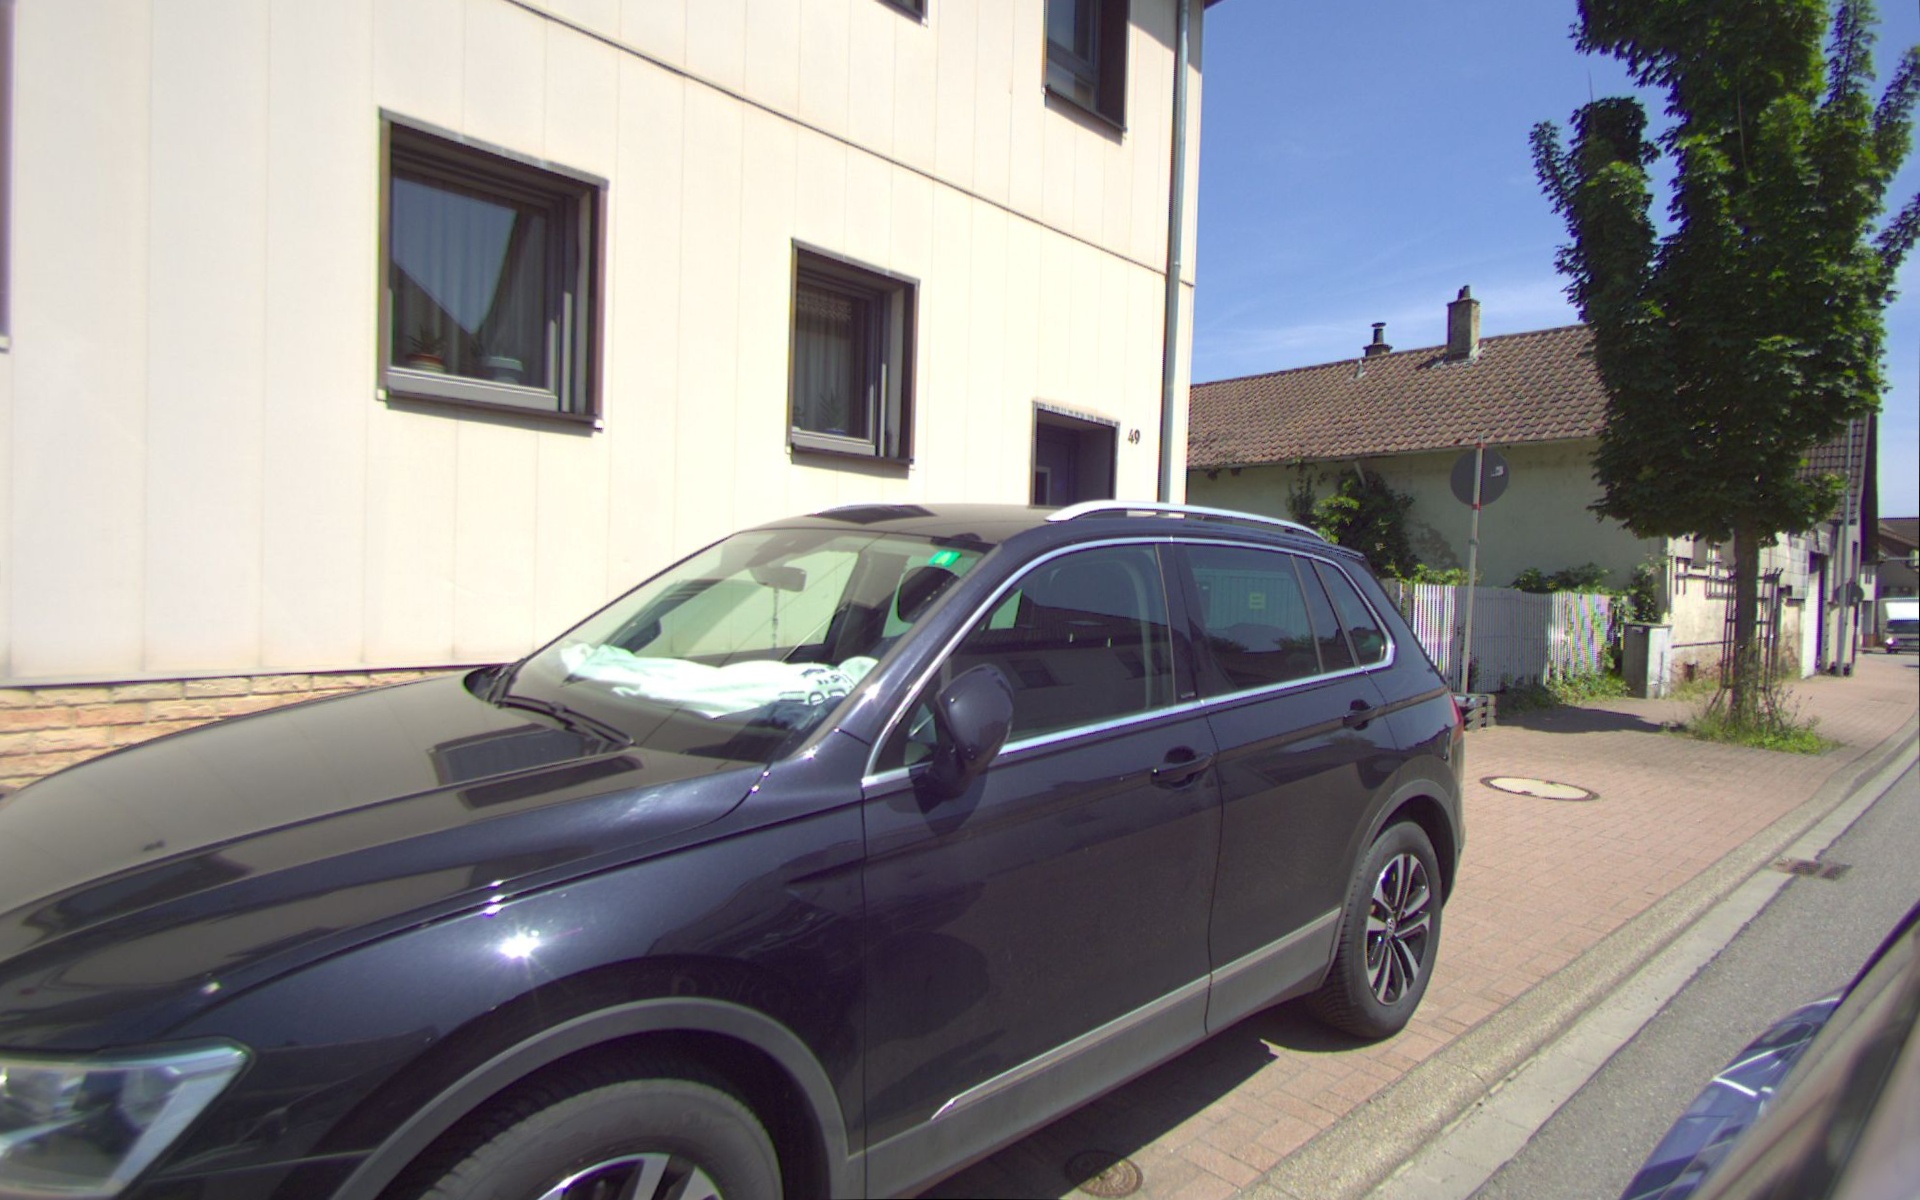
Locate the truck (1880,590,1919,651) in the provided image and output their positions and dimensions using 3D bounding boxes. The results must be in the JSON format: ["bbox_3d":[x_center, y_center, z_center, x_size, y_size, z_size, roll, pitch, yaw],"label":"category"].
[{"bbox_3d":[59.733,1.229,62.996,8.180,3.555,2.864,0,3,-43],"label":"truck"}]

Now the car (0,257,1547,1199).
[{"bbox_3d":[-0.090,0.455,2.955,4.470,1.633,1.805,1,3,-43],"label":"car"}]
